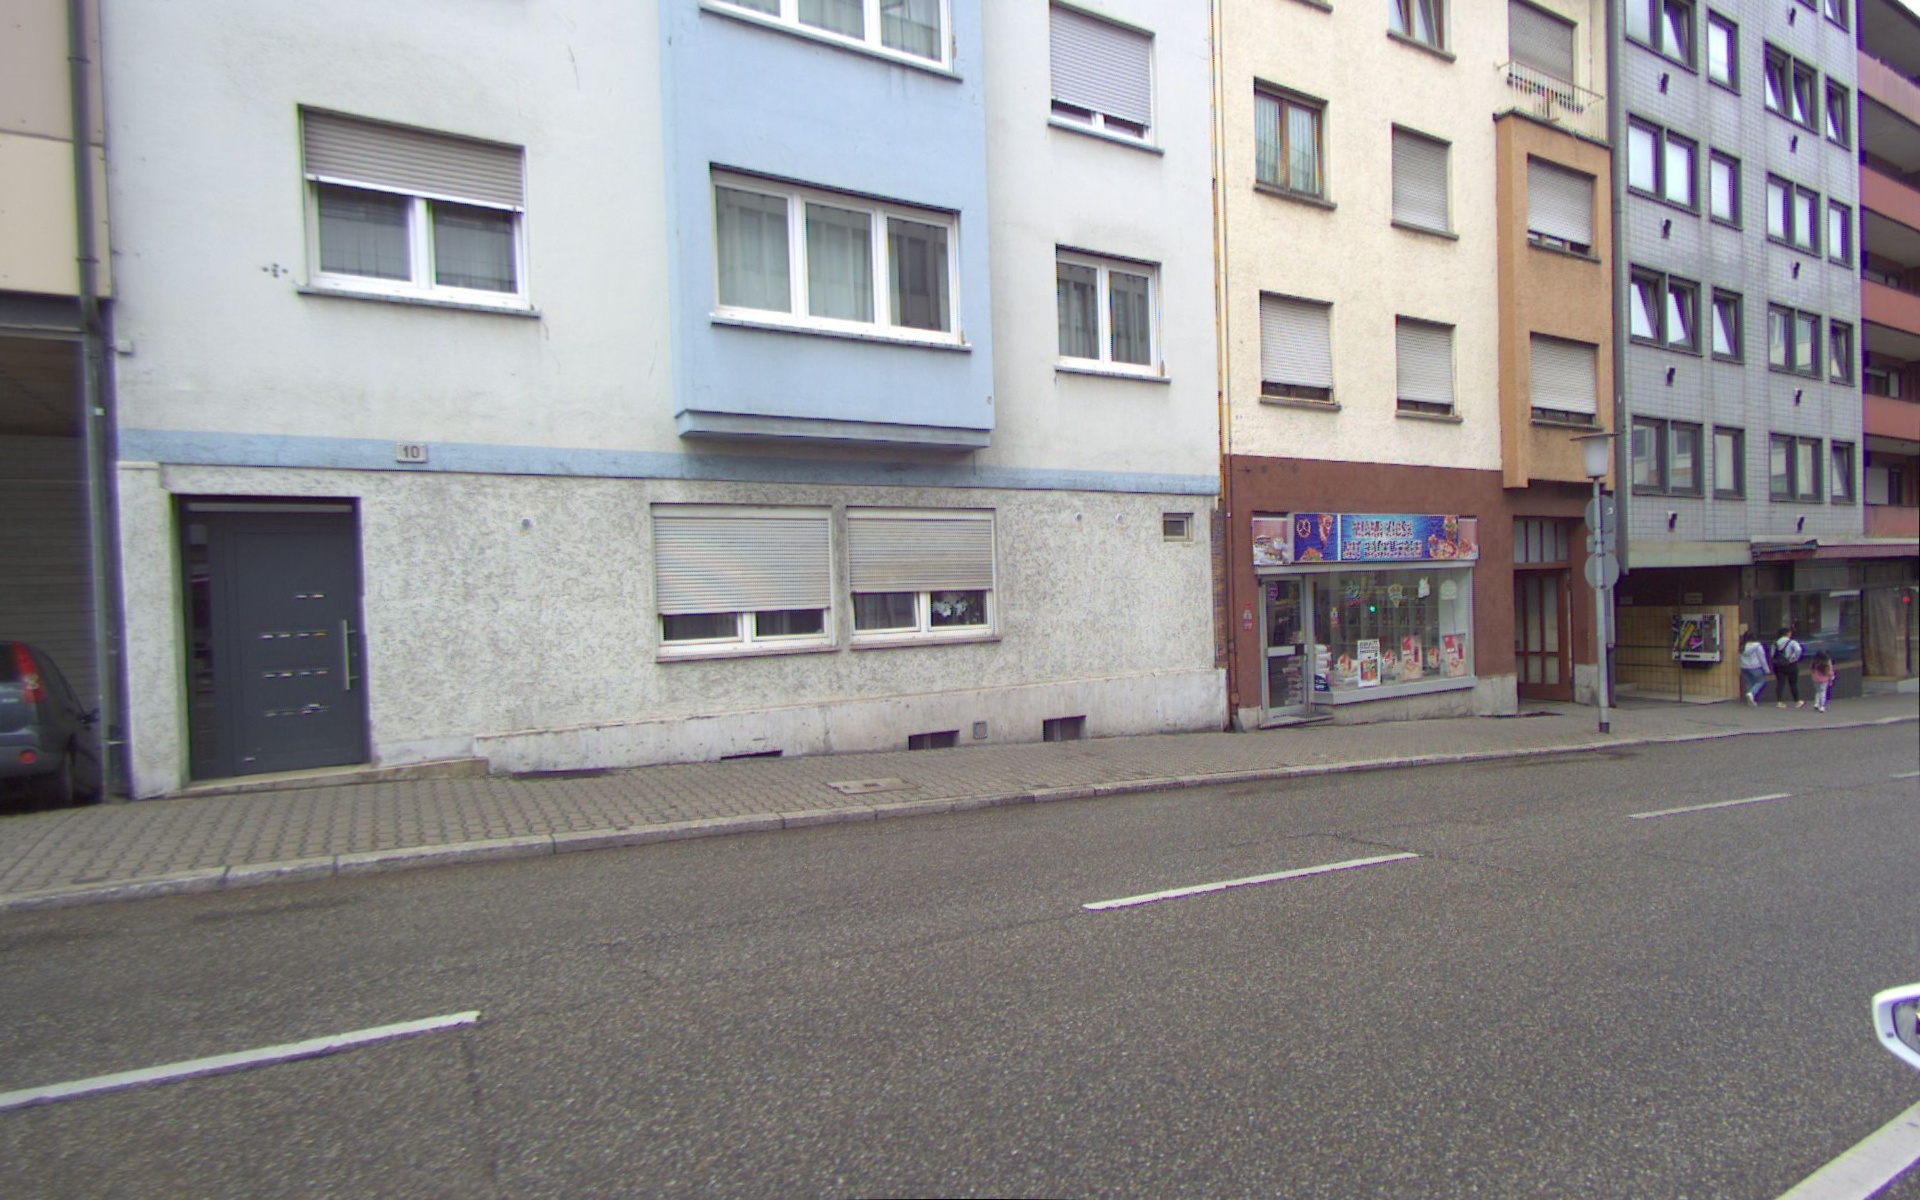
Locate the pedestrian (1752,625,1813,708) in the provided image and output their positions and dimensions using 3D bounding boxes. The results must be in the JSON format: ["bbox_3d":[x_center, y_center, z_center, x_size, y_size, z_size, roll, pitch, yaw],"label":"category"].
[{"bbox_3d":[17.662,1.408,21.576,0.717,1.712,0.821,1,1,-38],"label":"pedestrian"}]

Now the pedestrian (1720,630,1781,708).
[{"bbox_3d":[16.860,1.446,21.425,0.717,1.581,0.821,1,1,-38],"label":"pedestrian"}]

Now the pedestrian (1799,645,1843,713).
[{"bbox_3d":[17.912,1.632,20.902,0.717,1.341,0.529,1,1,-39],"label":"pedestrian"}]

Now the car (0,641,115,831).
[{"bbox_3d":[-8.513,1.253,8.623,1.663,1.367,3.963,-1,-7,-37],"label":"car"}]
